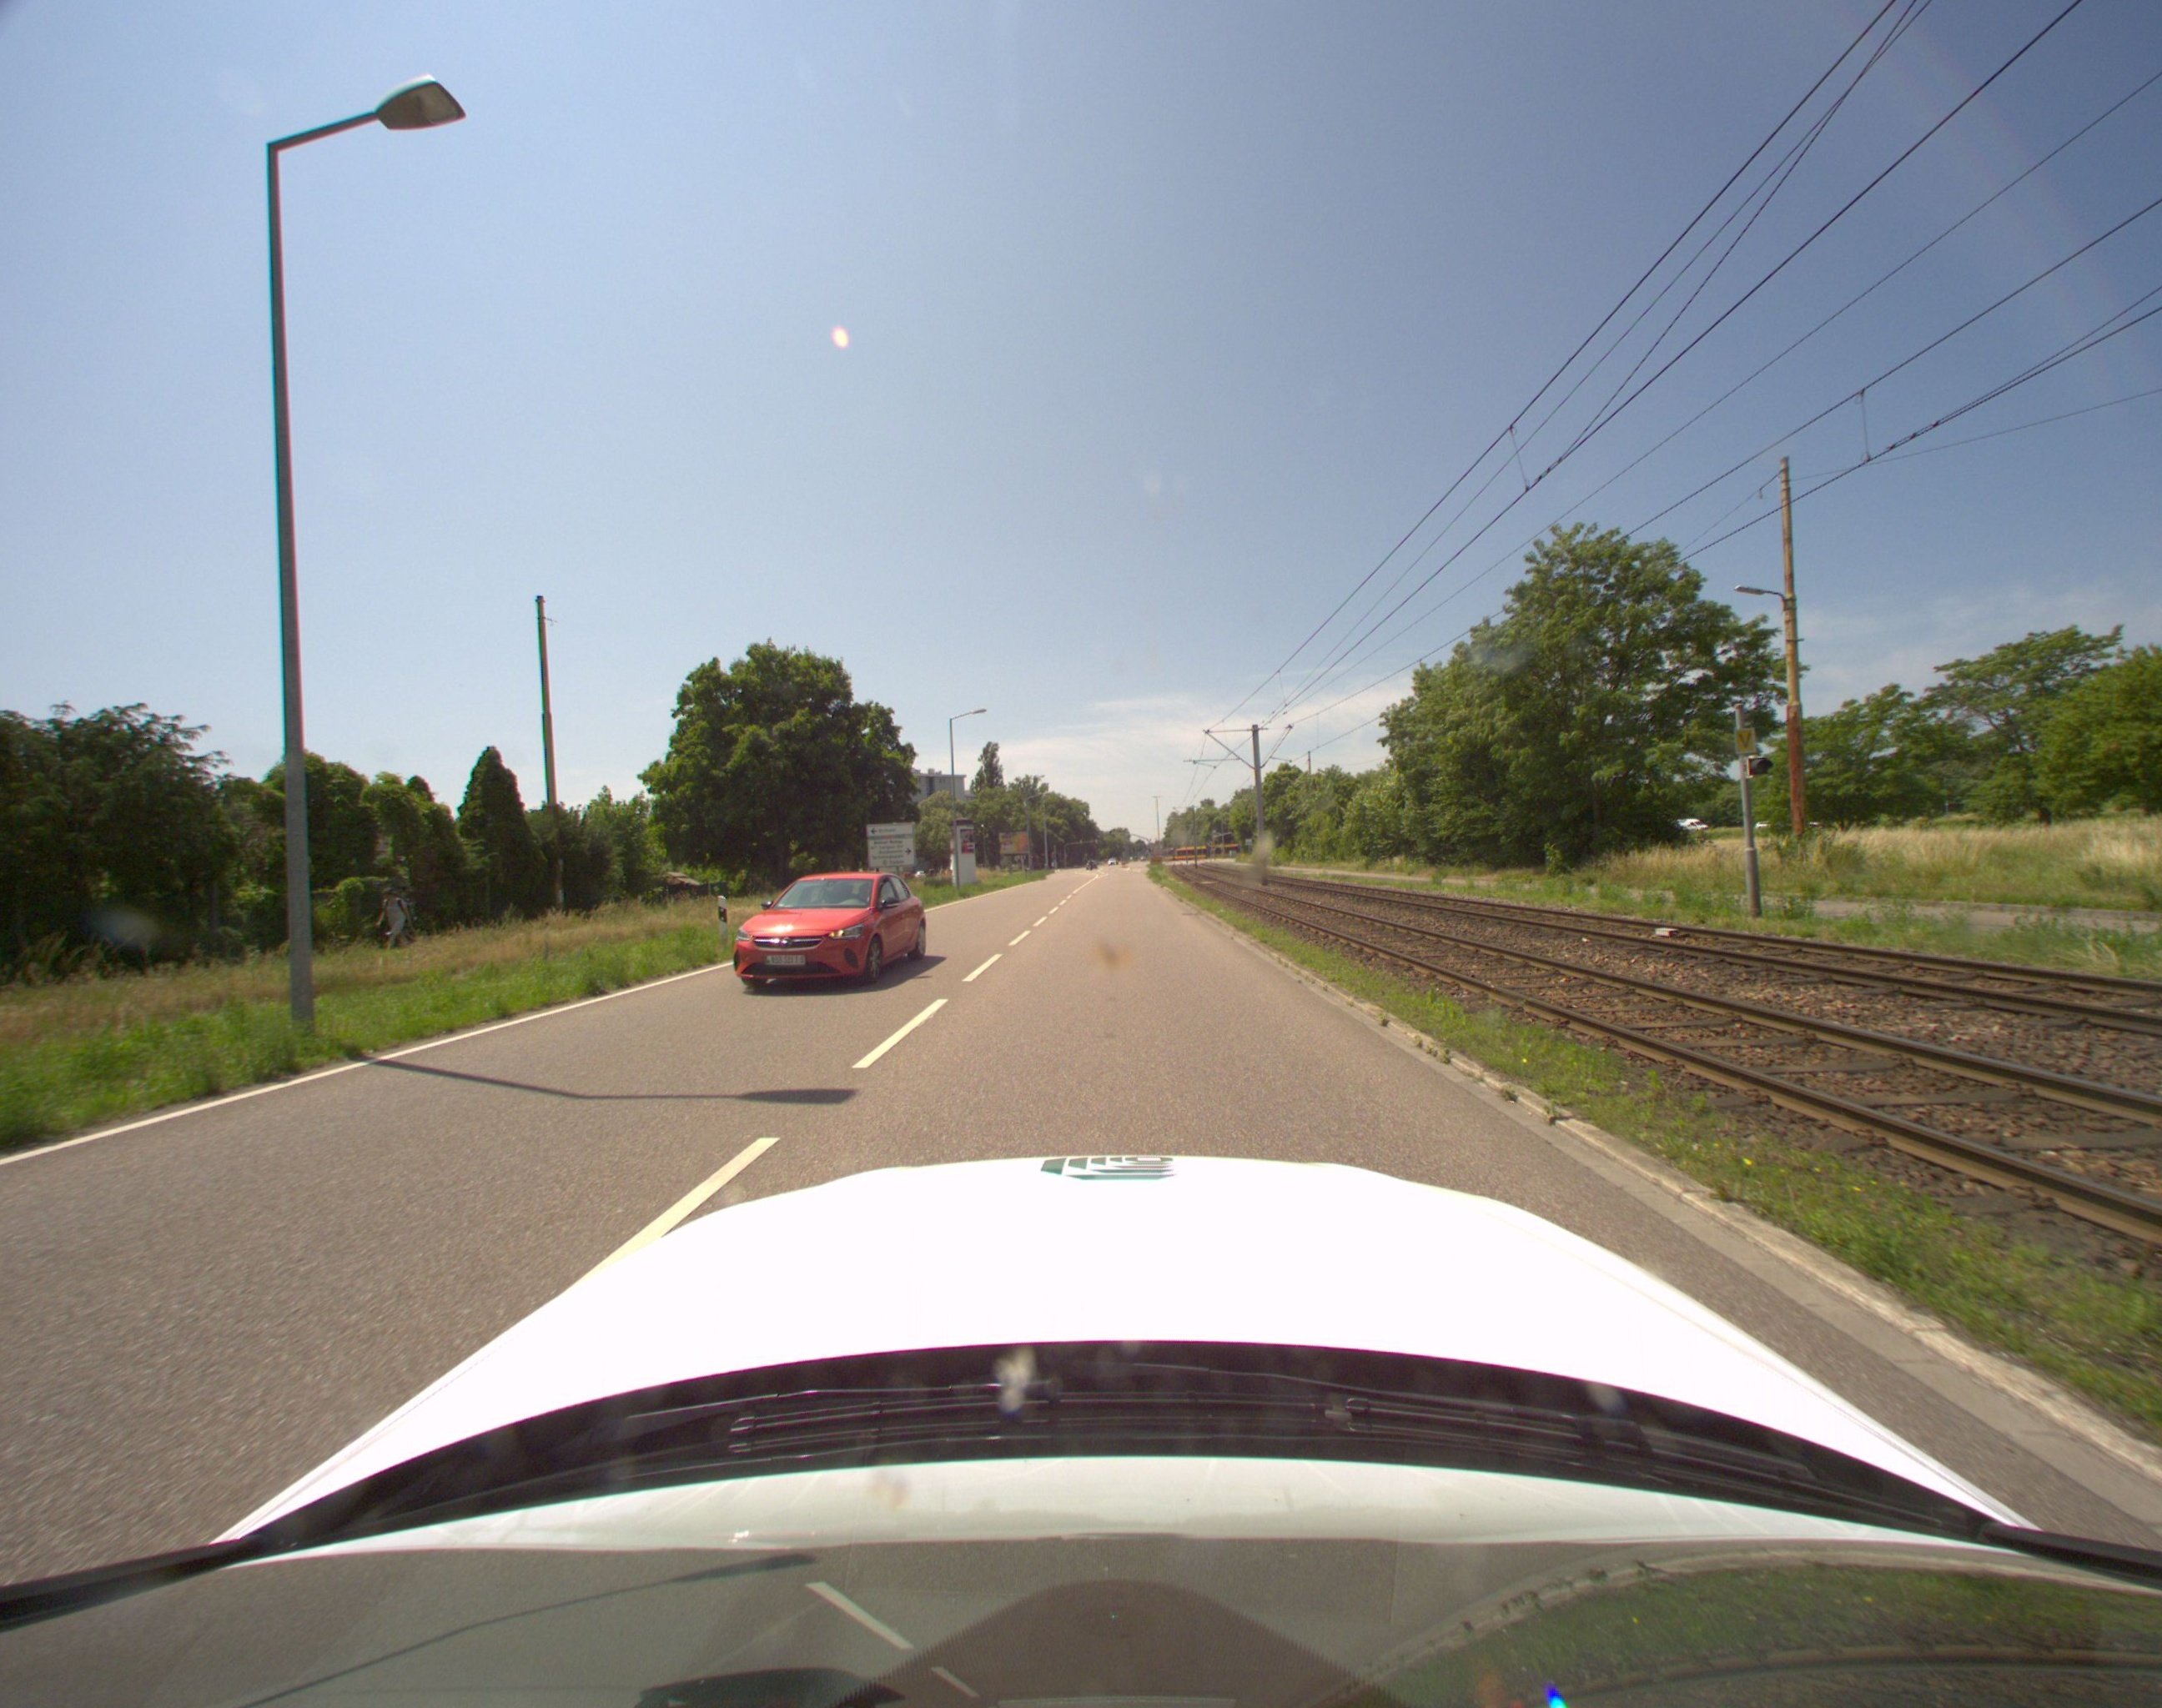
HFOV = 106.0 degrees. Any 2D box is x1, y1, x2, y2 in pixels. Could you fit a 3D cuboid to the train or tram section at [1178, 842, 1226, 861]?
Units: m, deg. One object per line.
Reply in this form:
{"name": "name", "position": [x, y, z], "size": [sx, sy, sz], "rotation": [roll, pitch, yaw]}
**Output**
{"name": "train or tram section", "position": [30.885, -0.539, 209.389], "size": [2.937, 3.920, 13.881], "rotation": [1, -4, -38]}

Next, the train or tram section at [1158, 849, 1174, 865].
{"name": "train or tram section", "position": [23.949, 0.999, 230.672], "size": [2.905, 3.812, 13.068], "rotation": [-2, -3, 0]}

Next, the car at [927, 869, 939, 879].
{"name": "car", "position": [-28.744, 3.906, 157.616], "size": [1.709, 1.801, 3.974], "rotation": [-2, -1, -19]}

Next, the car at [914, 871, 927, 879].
{"name": "car", "position": [-30.986, 4.072, 156.926], "size": [1.712, 1.592, 3.969], "rotation": [-2, -1, -23]}

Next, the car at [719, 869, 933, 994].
{"name": "car", "position": [-3.396, 0.955, 11.677], "size": [1.673, 1.399, 4.001], "rotation": [-2, -1, 2]}

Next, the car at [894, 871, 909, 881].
{"name": "car", "position": [-34.332, 4.187, 155.889], "size": [1.856, 1.668, 3.965], "rotation": [-3, -1, -26]}

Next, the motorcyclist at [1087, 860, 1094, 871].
{"name": "motorcyclist", "position": [1.409, 1.656, 120.600], "size": [0.786, 1.643, 1.213], "rotation": [-2, -1, 5]}

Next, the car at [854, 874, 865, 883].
{"name": "car", "position": [-41.753, 4.669, 153.473], "size": [1.693, 1.562, 3.814], "rotation": [-3, -1, -18]}

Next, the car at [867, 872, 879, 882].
{"name": "car", "position": [-39.482, 4.339, 154.375], "size": [1.852, 1.711, 3.975], "rotation": [-2, 0, -19]}

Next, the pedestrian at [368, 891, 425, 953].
{"name": "pedestrian", "position": [-15.733, 1.549, 18.744], "size": [0.578, 1.355, 0.799], "rotation": [-2, -1, 4]}

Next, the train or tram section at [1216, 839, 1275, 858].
{"name": "train or tram section", "position": [40.666, -1.354, 201.960], "size": [13.795, 3.920, 2.939], "rotation": [-3, -4, 23]}

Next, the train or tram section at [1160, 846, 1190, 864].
{"name": "train or tram section", "position": [25.272, 0.308, 219.502], "size": [2.920, 3.812, 13.378], "rotation": [-1, -4, -16]}

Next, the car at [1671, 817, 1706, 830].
{"name": "car", "position": [109.203, -5.455, 146.453], "size": [2.064, 2.014, 4.713], "rotation": [0, -1, -18]}

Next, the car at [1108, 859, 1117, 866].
{"name": "car", "position": [7.434, 1.929, 190.728], "size": [1.776, 1.629, 3.869], "rotation": [-3, -1, 4]}

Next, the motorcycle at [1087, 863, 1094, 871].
{"name": "motorcycle", "position": [1.383, 1.912, 120.373], "size": [0.843, 1.255, 2.453], "rotation": [-2, -1, 6]}

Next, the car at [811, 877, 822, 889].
{"name": "car", "position": [-48.684, 5.323, 149.828], "size": [1.852, 1.948, 3.974], "rotation": [-2, -1, -19]}

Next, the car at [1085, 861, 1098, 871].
{"name": "car", "position": [1.774, 1.984, 135.177], "size": [1.899, 1.499, 4.632], "rotation": [-2, -1, 2]}
